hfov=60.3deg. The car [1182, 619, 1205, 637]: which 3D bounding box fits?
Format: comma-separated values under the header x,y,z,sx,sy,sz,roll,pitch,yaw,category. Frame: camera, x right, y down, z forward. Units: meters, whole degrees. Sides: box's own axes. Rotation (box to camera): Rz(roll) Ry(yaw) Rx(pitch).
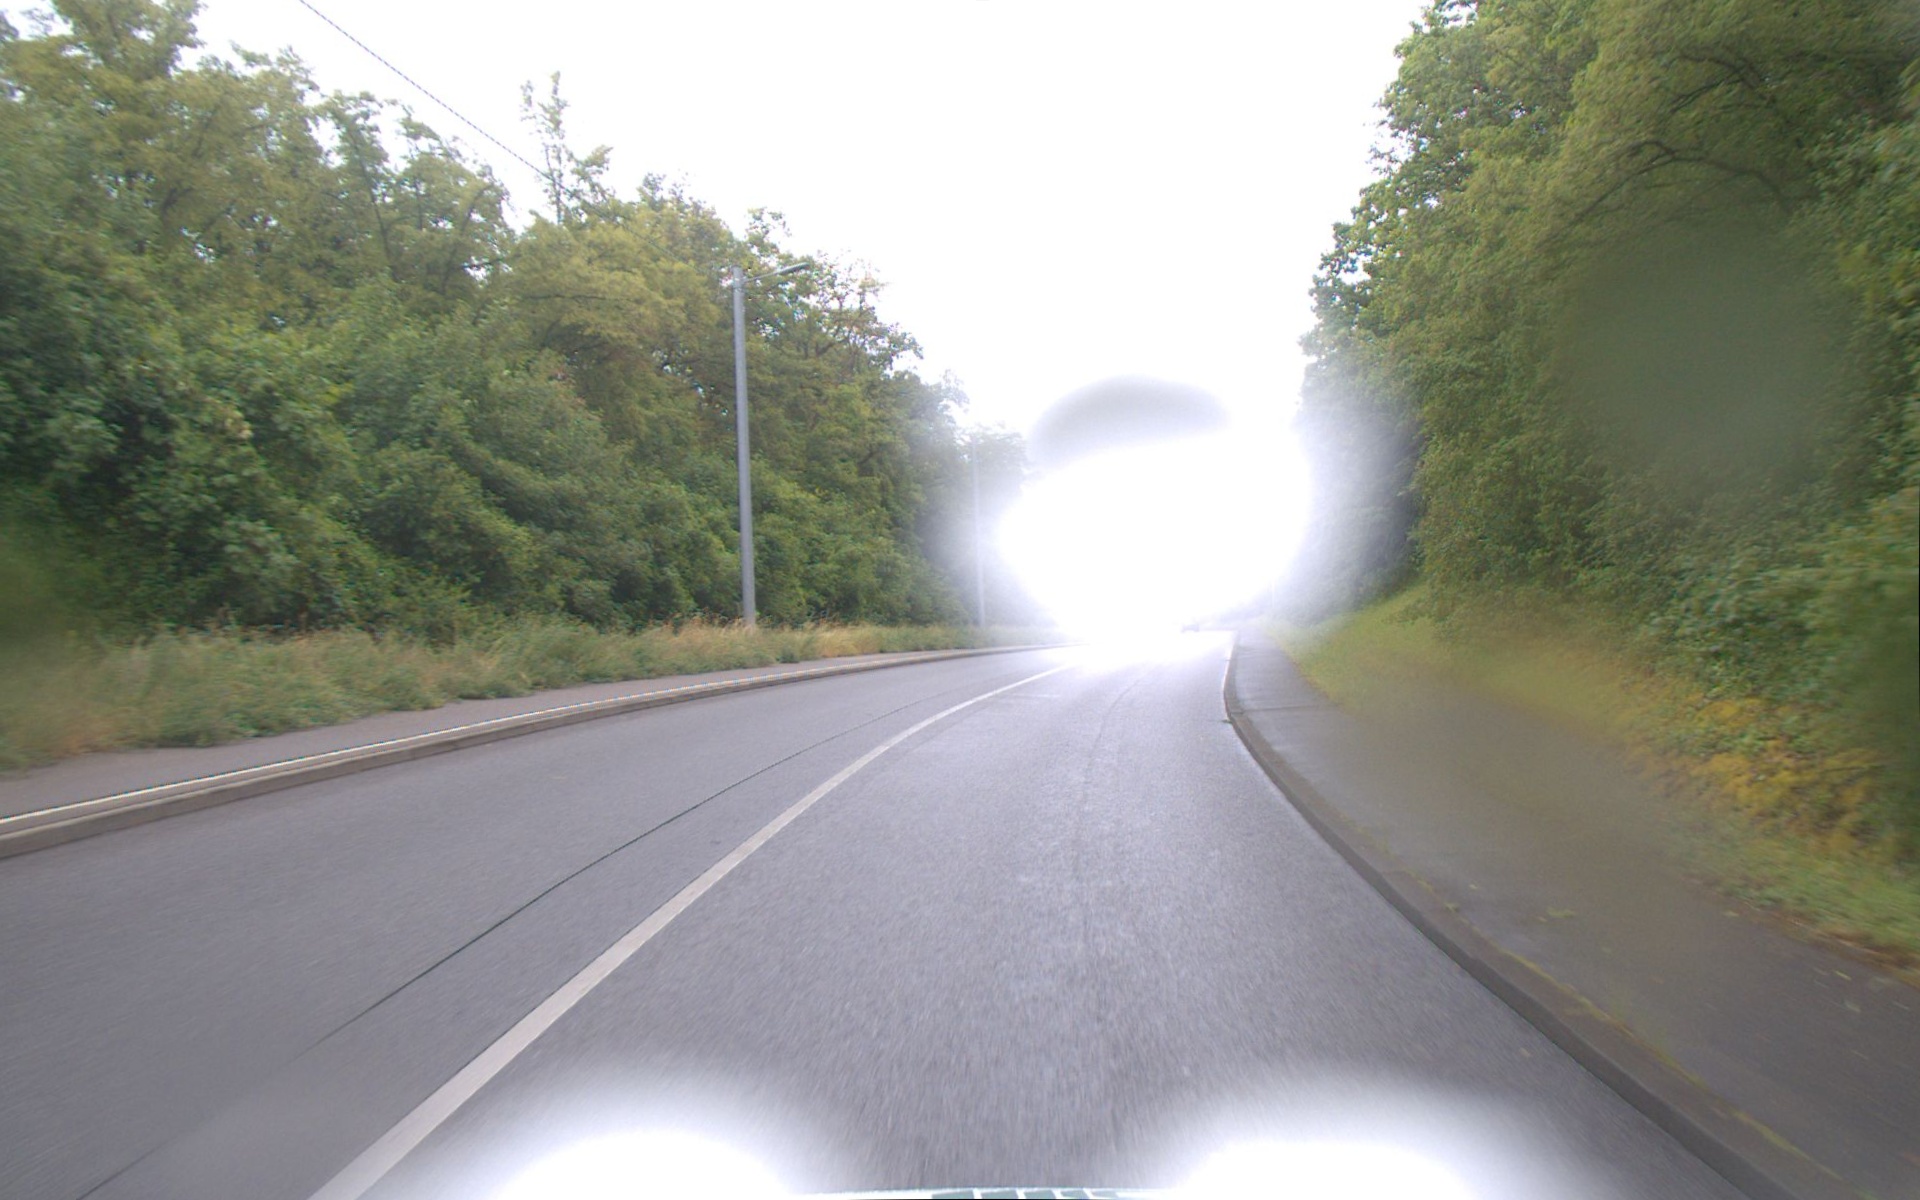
x,y,z,sx,sy,sz,roll,pitch,yaw,category
22.491,2.712,159.295,1.829,1.624,4.001,1,-1,3,car
